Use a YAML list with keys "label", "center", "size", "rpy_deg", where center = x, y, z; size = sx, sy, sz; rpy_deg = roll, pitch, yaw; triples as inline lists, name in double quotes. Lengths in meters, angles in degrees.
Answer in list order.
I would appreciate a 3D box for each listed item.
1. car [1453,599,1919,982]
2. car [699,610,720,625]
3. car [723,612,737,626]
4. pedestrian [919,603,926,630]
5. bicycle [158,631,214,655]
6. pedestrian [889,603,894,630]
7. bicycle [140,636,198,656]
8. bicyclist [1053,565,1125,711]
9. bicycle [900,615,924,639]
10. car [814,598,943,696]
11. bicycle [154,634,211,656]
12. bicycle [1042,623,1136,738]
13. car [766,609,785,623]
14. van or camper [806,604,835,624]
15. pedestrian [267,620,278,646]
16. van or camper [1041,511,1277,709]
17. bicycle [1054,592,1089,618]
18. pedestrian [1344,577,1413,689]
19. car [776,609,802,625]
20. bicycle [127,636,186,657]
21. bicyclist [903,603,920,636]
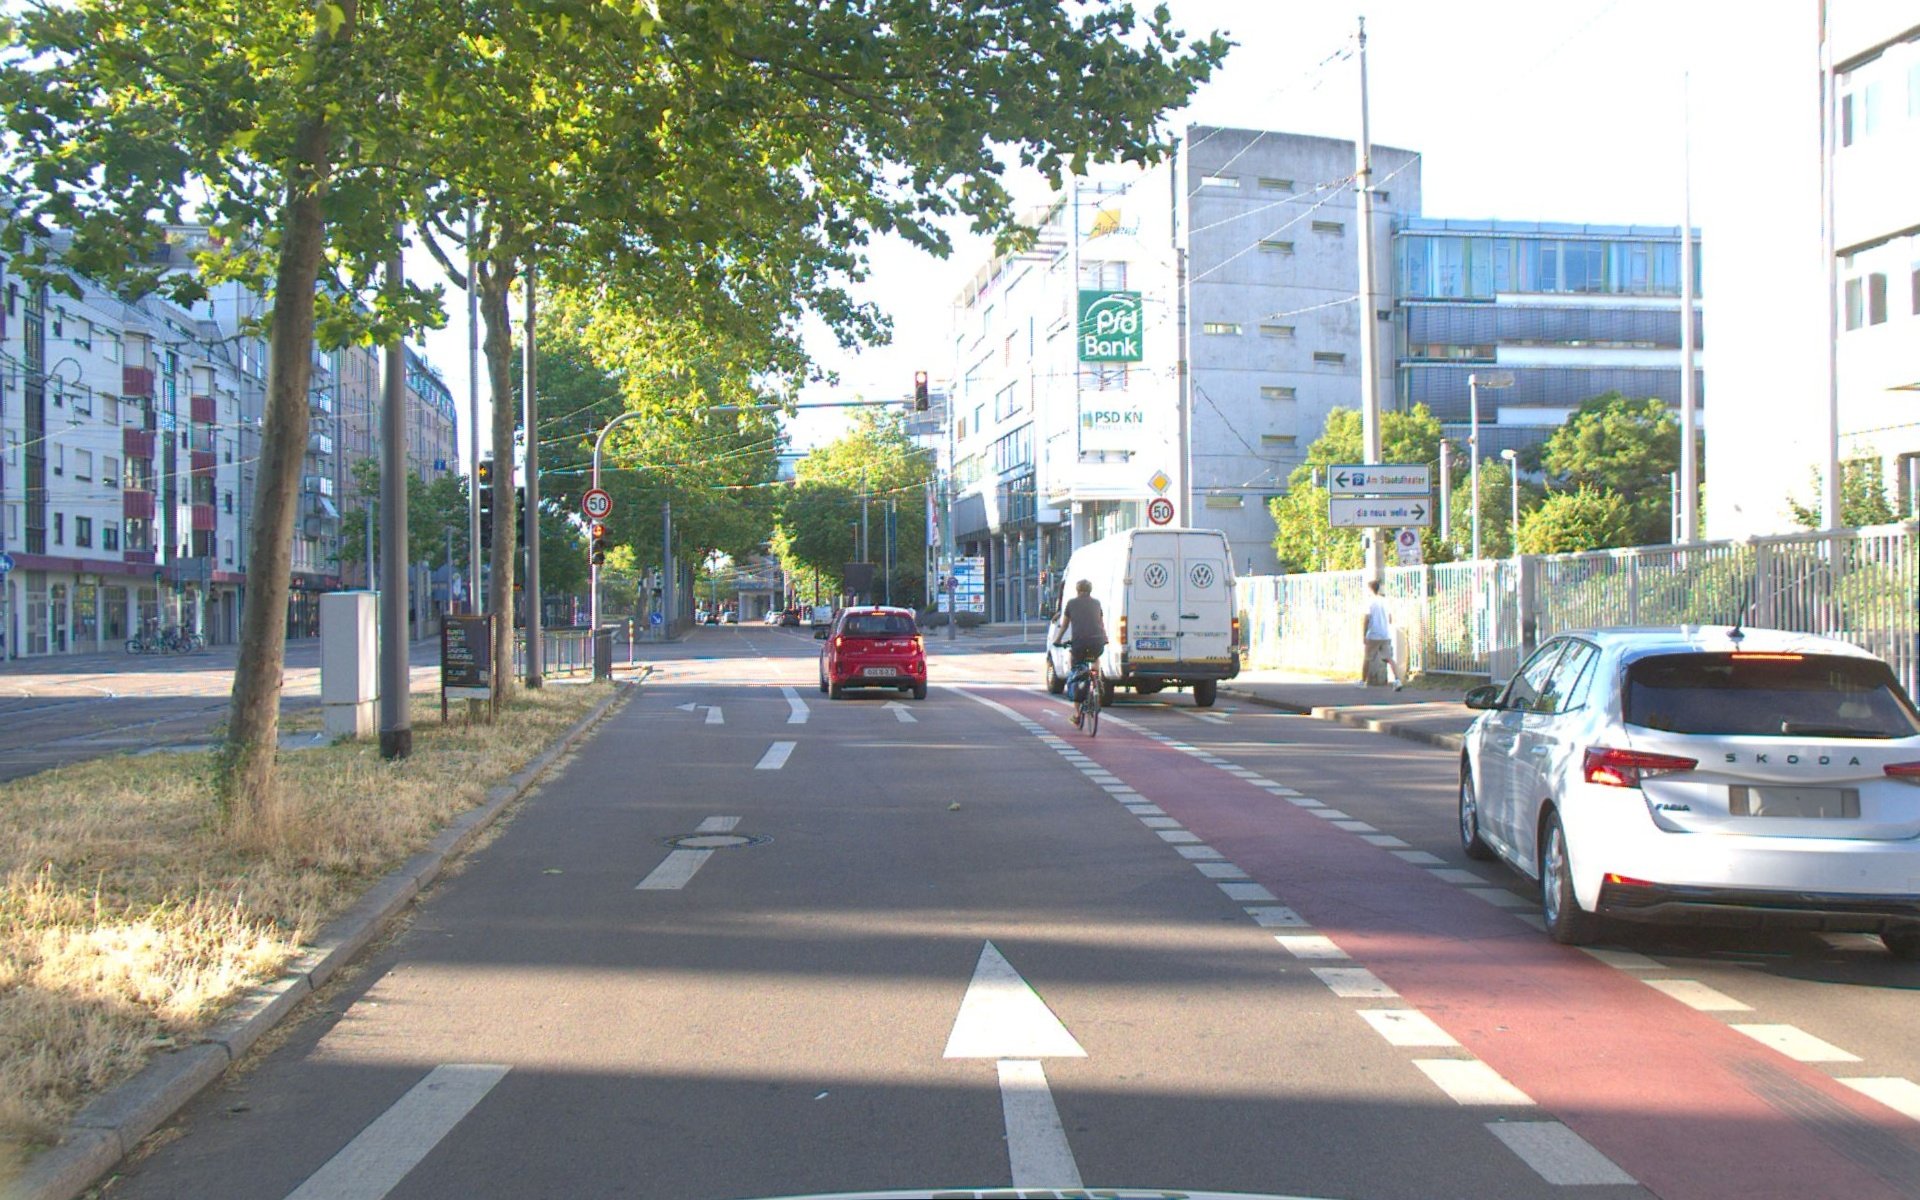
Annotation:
- label: "car"
  center: [3.738, 0.768, 8.640]
  size: [1.763, 1.527, 3.985]
  rpy_deg: [0, 0, 10]
- label: "car"
  center: [-29.352, 2.036, 193.721]
  size: [2.022, 1.682, 3.480]
  rpy_deg: [-2, 0, -14]
- label: "car"
  center: [-29.044, 2.378, 208.559]
  size: [1.627, 1.635, 3.523]
  rpy_deg: [-2, 0, -10]
- label: "pedestrian"
  center: [-2.207, 0.979, 97.689]
  size: [0.307, 1.589, 0.295]
  rpy_deg: [-2, 0, 23]
- label: "bicycle"
  center: [-33.567, 1.841, 71.721]
  size: [2.131, 0.967, 0.490]
  rpy_deg: [-1, 0, -13]
- label: "pedestrian"
  center: [-4.067, 0.998, 98.107]
  size: [0.288, 1.589, 0.302]
  rpy_deg: [-1, 0, -7]
- label: "bicycle"
  center: [-33.352, 1.933, 69.732]
  size: [2.131, 0.801, 0.490]
  rpy_deg: [-1, 0, -13]
- label: "bicyclist"
  center: [1.528, 0.441, 19.693]
  size: [0.729, 1.698, 0.744]
  rpy_deg: [1, 0, -6]
- label: "bicycle"
  center: [-2.455, 1.378, 83.952]
  size: [0.779, 1.182, 2.492]
  rpy_deg: [-1, 0, -12]
- label: "car"
  center: [-1.455, 0.744, 28.054]
  size: [1.805, 1.515, 3.709]
  rpy_deg: [-1, 0, -9]
- label: "bicycle"
  center: [-33.424, 1.927, 71.092]
  size: [2.131, 0.838, 0.526]
  rpy_deg: [-1, 0, -13]
- label: "bicycle"
  center: [1.515, 0.926, 19.749]
  size: [0.729, 1.245, 2.153]
  rpy_deg: [1, 0, -6]
- label: "car"
  center: [-22.081, 1.885, 198.221]
  size: [1.852, 1.555, 4.418]
  rpy_deg: [-2, 0, -12]
- label: "van or camper"
  center: [-12.898, 1.264, 152.826]
  size: [2.107, 1.781, 4.418]
  rpy_deg: [-2, 0, -12]
- label: "pedestrian"
  center: [-40.253, 1.950, 96.796]
  size: [0.502, 1.484, 0.526]
  rpy_deg: [-1, 0, -14]
- label: "van or camper"
  center: [3.018, 0.165, 26.862]
  size: [2.226, 2.781, 6.335]
  rpy_deg: [1, 0, -8]
- label: "bicycle"
  center: [6.535, 0.304, 97.036]
  size: [1.899, 1.468, 0.574]
  rpy_deg: [-2, 0, -10]
- label: "pedestrian"
  center: [6.848, 0.532, 27.108]
  size: [0.773, 1.779, 0.768]
  rpy_deg: [-2, 0, -16]
- label: "car"
  center: [-18.394, 1.817, 177.841]
  size: [2.434, 1.555, 4.420]
  rpy_deg: [-2, 0, -10]
- label: "bicycle"
  center: [-33.484, 1.927, 68.940]
  size: [2.131, 0.801, 0.639]
  rpy_deg: [-1, 0, -13]
- label: "bicyclist"
  center: [-2.469, 0.975, 84.036]
  size: [0.771, 1.663, 0.637]
  rpy_deg: [-1, 0, -12]
